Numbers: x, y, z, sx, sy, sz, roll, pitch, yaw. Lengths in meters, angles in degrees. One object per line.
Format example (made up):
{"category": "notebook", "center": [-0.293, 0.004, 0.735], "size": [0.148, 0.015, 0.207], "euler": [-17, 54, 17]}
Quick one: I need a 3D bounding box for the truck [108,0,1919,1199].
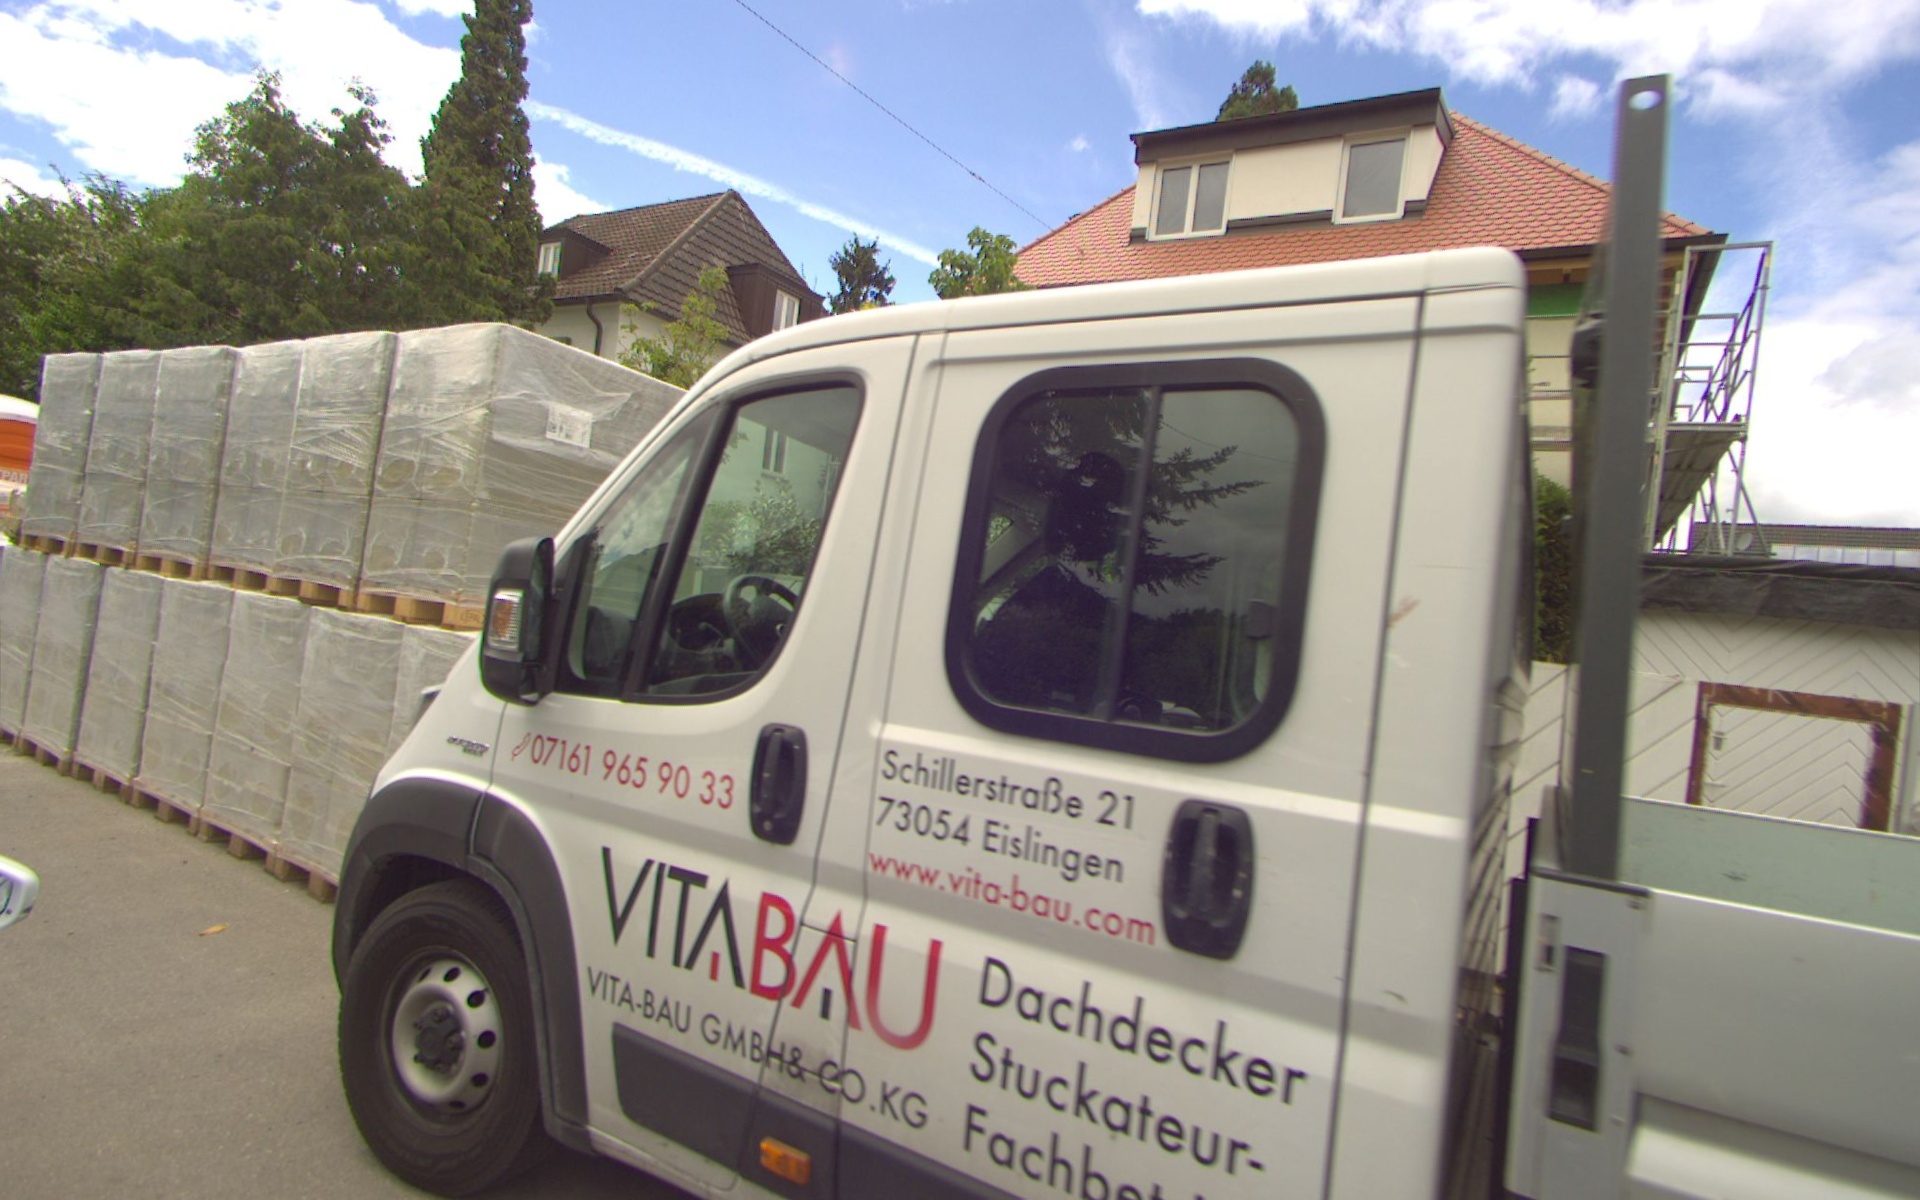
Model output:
{"category": "truck", "center": [1.190, 0.478, 2.129], "size": [7.307, 2.500, 2.191], "euler": [7, -1, 31]}
